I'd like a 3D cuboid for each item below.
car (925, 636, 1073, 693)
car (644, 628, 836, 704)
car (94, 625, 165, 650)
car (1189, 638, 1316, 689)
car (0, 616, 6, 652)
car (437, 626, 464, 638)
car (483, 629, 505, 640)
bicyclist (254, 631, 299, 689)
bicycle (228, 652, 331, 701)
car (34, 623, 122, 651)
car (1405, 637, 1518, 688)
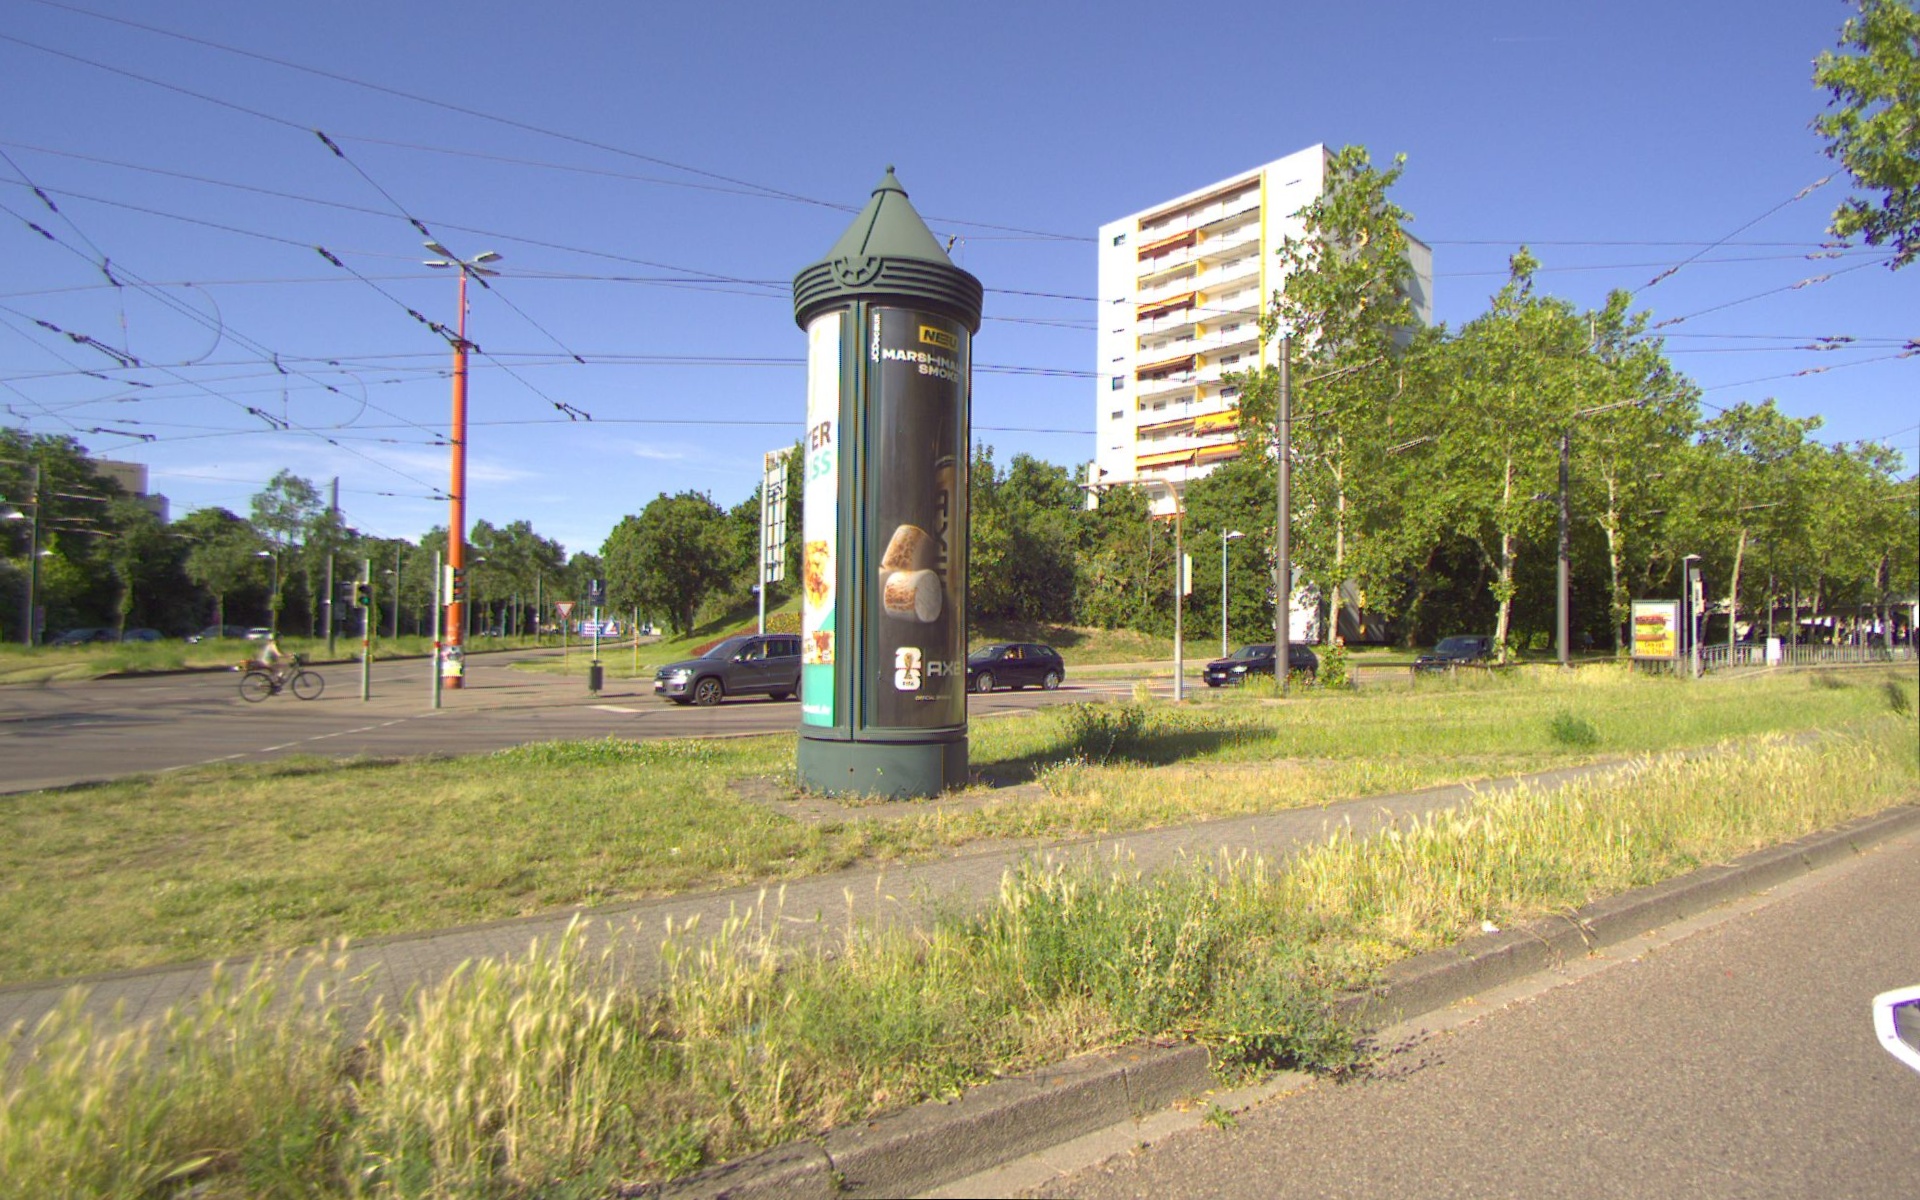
[{"bbox_3d":[1.195,1.851,29.464,4.231,1.530,1.780,2,-3,-39],"label":"car"},{"bbox_3d":[-5.308,1.566,24.469,4.228,1.700,1.781,2,-3,-37],"label":"car"},{"bbox_3d":[-53.467,2.407,64.772,1.768,1.530,3.994,0,-2,-10],"label":"car"},{"bbox_3d":[9.497,2.013,32.460,4.228,1.530,1.781,2,-3,-37],"label":"car"},{"bbox_3d":[-50.746,1.704,50.524,1.768,1.859,4.549,0,-2,-10],"label":"car"},{"bbox_3d":[-62.819,3.956,123.899,1.768,1.530,3.994,0,-2,-10],"label":"car"},{"bbox_3d":[-65.356,4.863,140.983,1.768,1.530,3.994,0,-2,-10],"label":"car"},{"bbox_3d":[-16.927,1.489,24.874,0.651,1.398,0.787,-4,-3,42],"label":"bicyclist"},{"bbox_3d":[-16.853,1.886,24.925,0.651,1.122,2.034,-4,-3,42],"label":"bicycle"},{"bbox_3d":[-48.524,2.039,55.358,1.768,1.530,3.994,0,-2,-10],"label":"car"},{"bbox_3d":[17.212,2.095,34.416,4.194,1.638,1.781,2,-3,-37],"label":"car"}]
